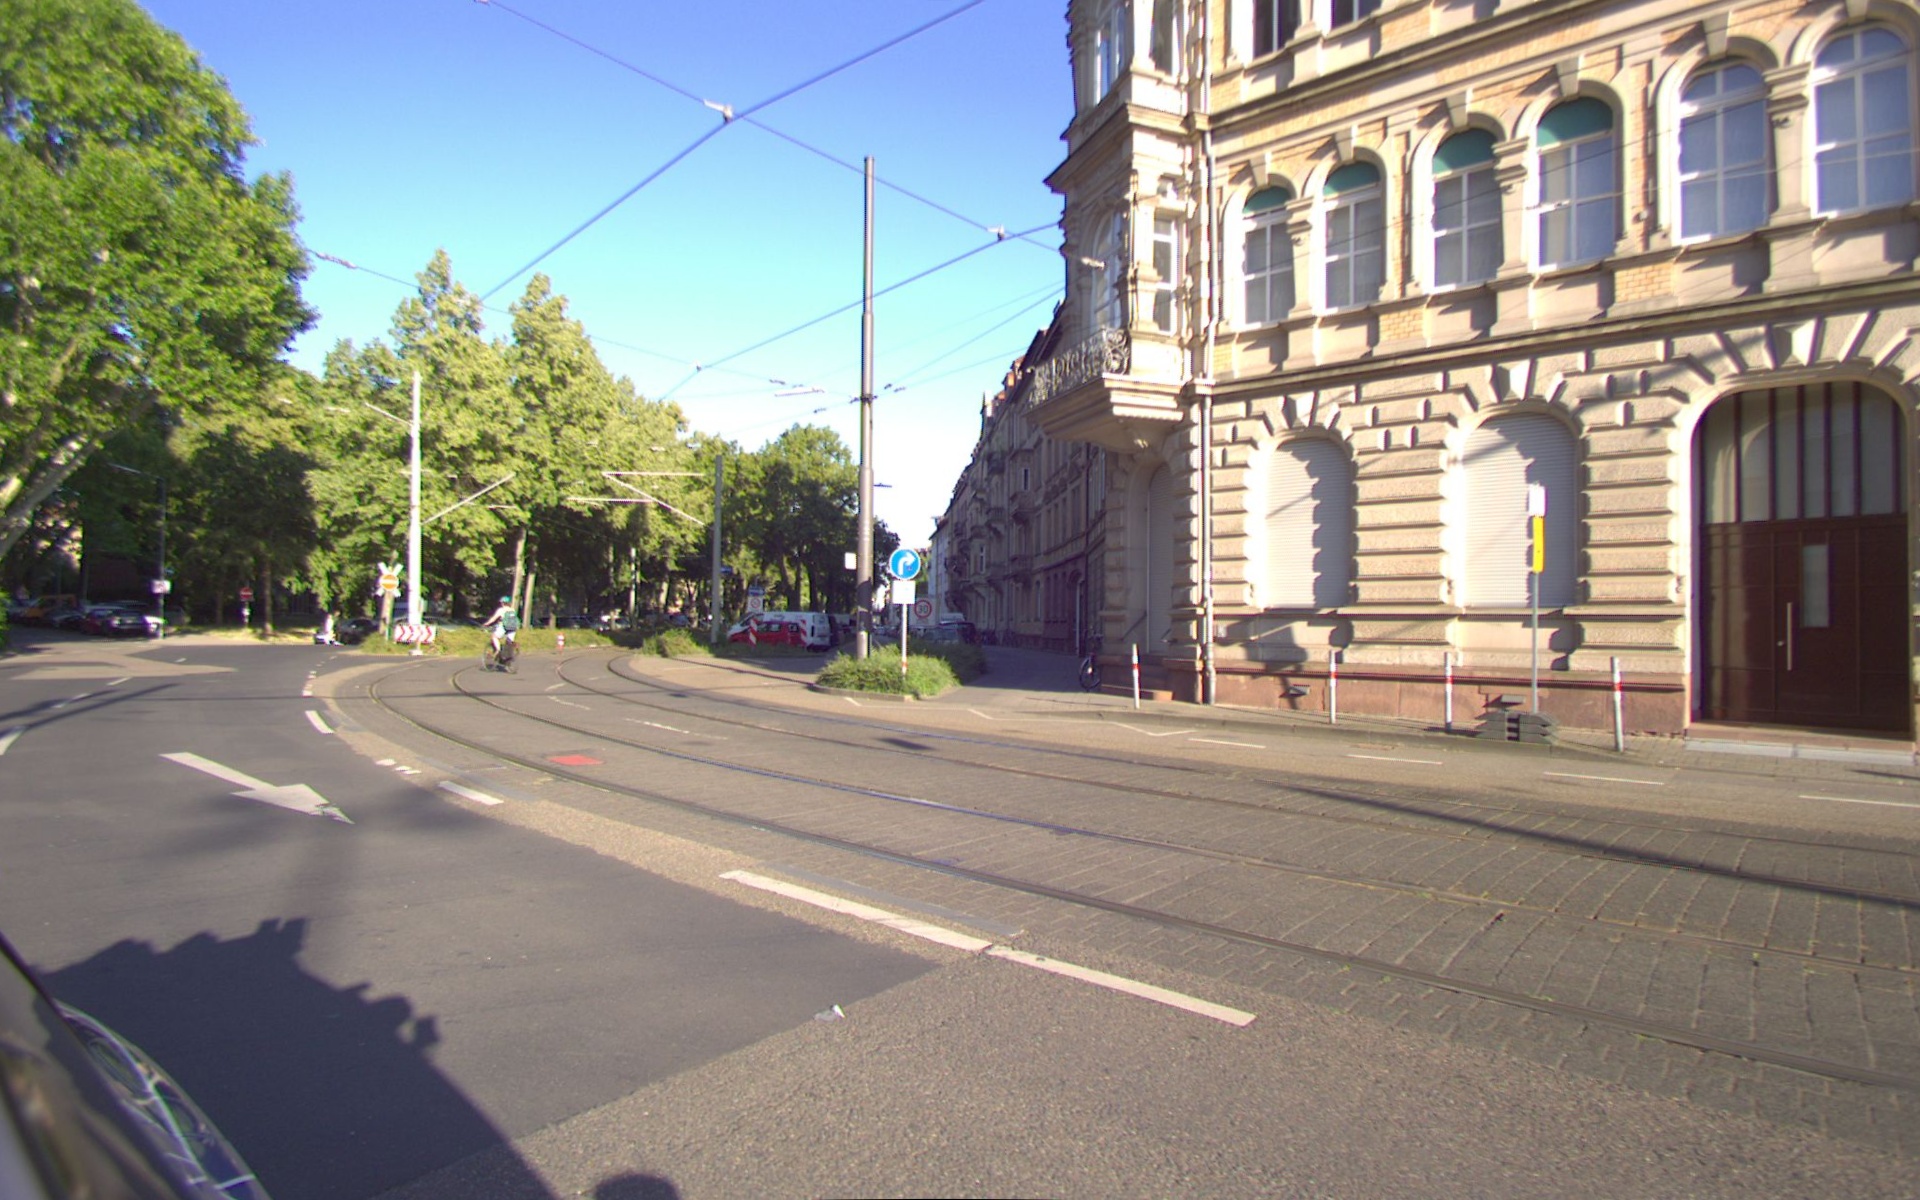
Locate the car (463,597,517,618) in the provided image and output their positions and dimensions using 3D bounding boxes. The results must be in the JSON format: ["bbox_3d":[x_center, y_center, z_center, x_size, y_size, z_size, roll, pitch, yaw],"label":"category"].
[{"bbox_3d":[-43.261,0.688,93.094,4.412,1.763,1.986,1,-1,22],"label":"car"}]

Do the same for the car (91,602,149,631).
[{"bbox_3d":[-45.576,0.886,54.903,3.627,1.459,1.718,0,-1,39],"label":"car"}]

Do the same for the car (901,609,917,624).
[{"bbox_3d":[-5.922,1.909,118.417,1.777,1.769,4.001,1,-1,-2],"label":"car"}]

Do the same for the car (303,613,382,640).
[{"bbox_3d":[-34.924,1.471,57.326,1.924,1.409,3.997,1,-1,2],"label":"car"}]

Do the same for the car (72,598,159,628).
[{"bbox_3d":[-52.392,0.810,62.829,1.532,1.775,3.879,0,-1,35],"label":"car"}]

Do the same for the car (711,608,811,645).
[{"bbox_3d":[-8.892,1.180,45.310,3.965,1.519,1.859,1,-1,16],"label":"car"}]

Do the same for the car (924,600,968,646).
[{"bbox_3d":[-0.703,1.059,47.807,1.971,2.029,4.637,1,-1,-2],"label":"car"}]

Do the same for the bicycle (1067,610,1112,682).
[{"bbox_3d":[2.537,0.855,19.651,0.638,1.275,2.678,1,-1,12],"label":"bicycle"}]

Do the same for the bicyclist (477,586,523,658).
[{"bbox_3d":[-11.573,0.545,25.451,1.059,1.776,0.599,0,-1,39],"label":"bicyclist"}]

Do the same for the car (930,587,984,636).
[{"bbox_3d":[-0.061,0.424,37.074,1.715,1.674,3.996,1,-1,3],"label":"car"}]

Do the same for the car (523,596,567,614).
[{"bbox_3d":[-43.322,0.524,105.657,3.962,1.763,1.876,1,-1,14],"label":"car"}]

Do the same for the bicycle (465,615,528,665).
[{"bbox_3d":[-11.708,0.999,25.553,1.949,1.184,0.603,0,-1,38],"label":"bicycle"}]

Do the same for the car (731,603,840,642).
[{"bbox_3d":[-8.765,1.093,50.854,5.014,1.822,1.989,1,-1,16],"label":"car"}]

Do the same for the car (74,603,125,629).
[{"bbox_3d":[-49.749,0.904,58.497,3.922,1.459,1.515,0,-1,39],"label":"car"}]

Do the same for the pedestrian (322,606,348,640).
[{"bbox_3d":[-33.269,1.204,53.884,0.826,1.781,0.880,0,-1,28],"label":"pedestrian"}]

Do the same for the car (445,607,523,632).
[{"bbox_3d":[-26.800,1.096,57.042,3.649,1.364,1.735,1,-1,11],"label":"car"}]

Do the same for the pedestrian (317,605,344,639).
[{"bbox_3d":[-33.898,1.188,54.510,0.826,1.781,0.880,0,-1,28],"label":"pedestrian"}]

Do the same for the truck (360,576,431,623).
[{"bbox_3d":[-35.000,-0.005,62.924,1.970,2.804,4.889,1,-1,-5],"label":"truck"}]

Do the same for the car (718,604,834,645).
[{"bbox_3d":[-8.645,1.131,47.710,5.014,1.801,1.989,1,-1,16],"label":"car"}]

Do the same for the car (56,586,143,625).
[{"bbox_3d":[-54.385,0.365,64.034,1.532,2.424,3.879,0,-1,35],"label":"car"}]

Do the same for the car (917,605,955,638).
[{"bbox_3d":[-1.364,1.190,56.782,1.971,1.718,4.265,1,-1,-2],"label":"car"}]

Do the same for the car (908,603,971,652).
[{"bbox_3d":[-0.599,0.861,32.297,1.715,1.425,3.430,1,-1,3],"label":"car"}]

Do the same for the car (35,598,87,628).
[{"bbox_3d":[-60.112,0.866,67.672,4.221,1.871,1.750,0,-1,37],"label":"car"}]

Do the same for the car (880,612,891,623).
[{"bbox_3d":[-13.405,3.111,183.014,1.970,1.796,4.004,0,1,-4],"label":"car"}]

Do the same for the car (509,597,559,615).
[{"bbox_3d":[-43.312,0.594,102.950,4.317,1.719,1.990,1,-1,15],"label":"car"}]
